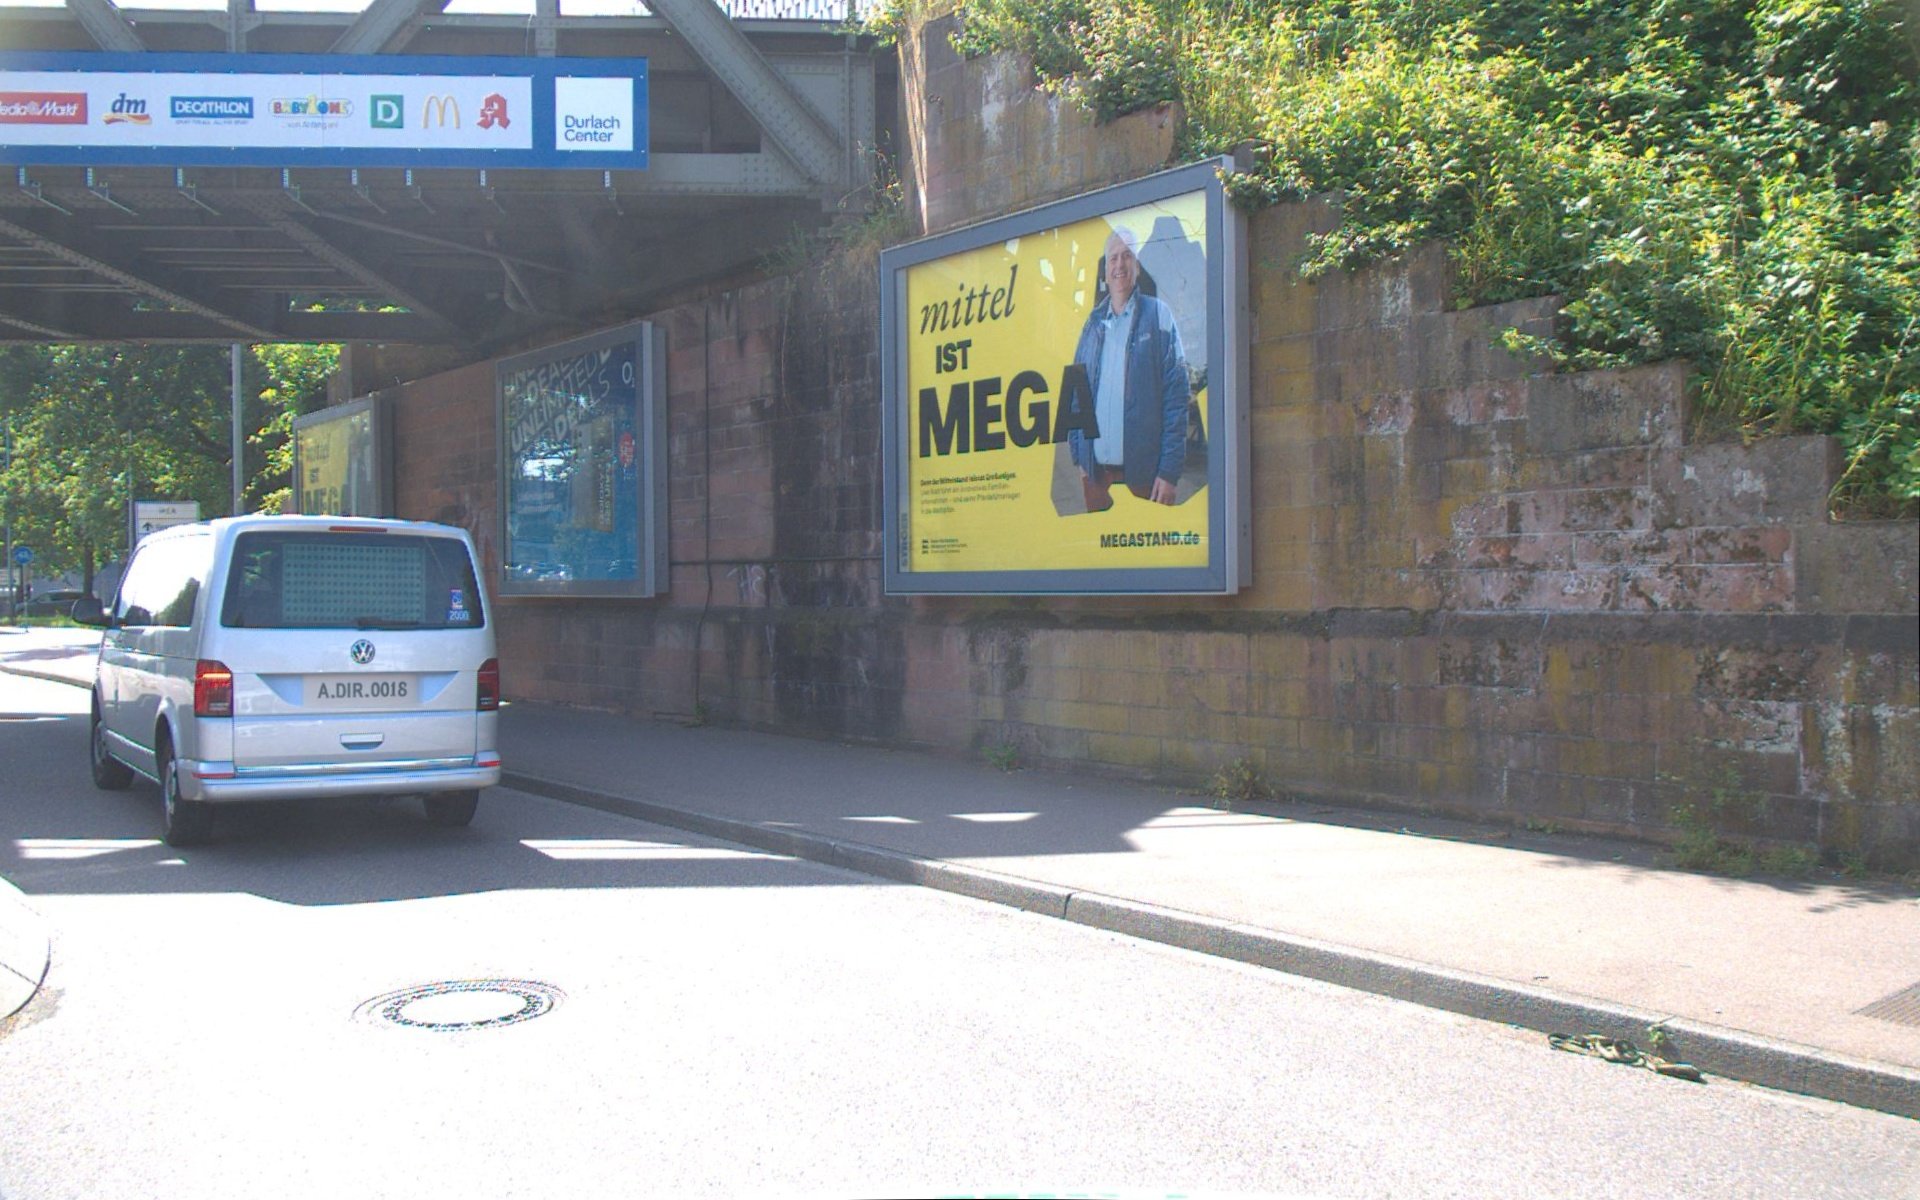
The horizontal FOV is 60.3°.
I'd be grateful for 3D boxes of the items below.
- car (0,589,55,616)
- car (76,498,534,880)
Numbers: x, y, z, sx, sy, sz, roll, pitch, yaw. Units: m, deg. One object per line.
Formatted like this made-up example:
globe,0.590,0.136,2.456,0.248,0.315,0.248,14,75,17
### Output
car,-51.322,0.129,89.610,3.774,1.441,1.678,-1,1,-39
car,-4.686,0.427,11.303,1.924,2.006,4.963,0,1,-34
